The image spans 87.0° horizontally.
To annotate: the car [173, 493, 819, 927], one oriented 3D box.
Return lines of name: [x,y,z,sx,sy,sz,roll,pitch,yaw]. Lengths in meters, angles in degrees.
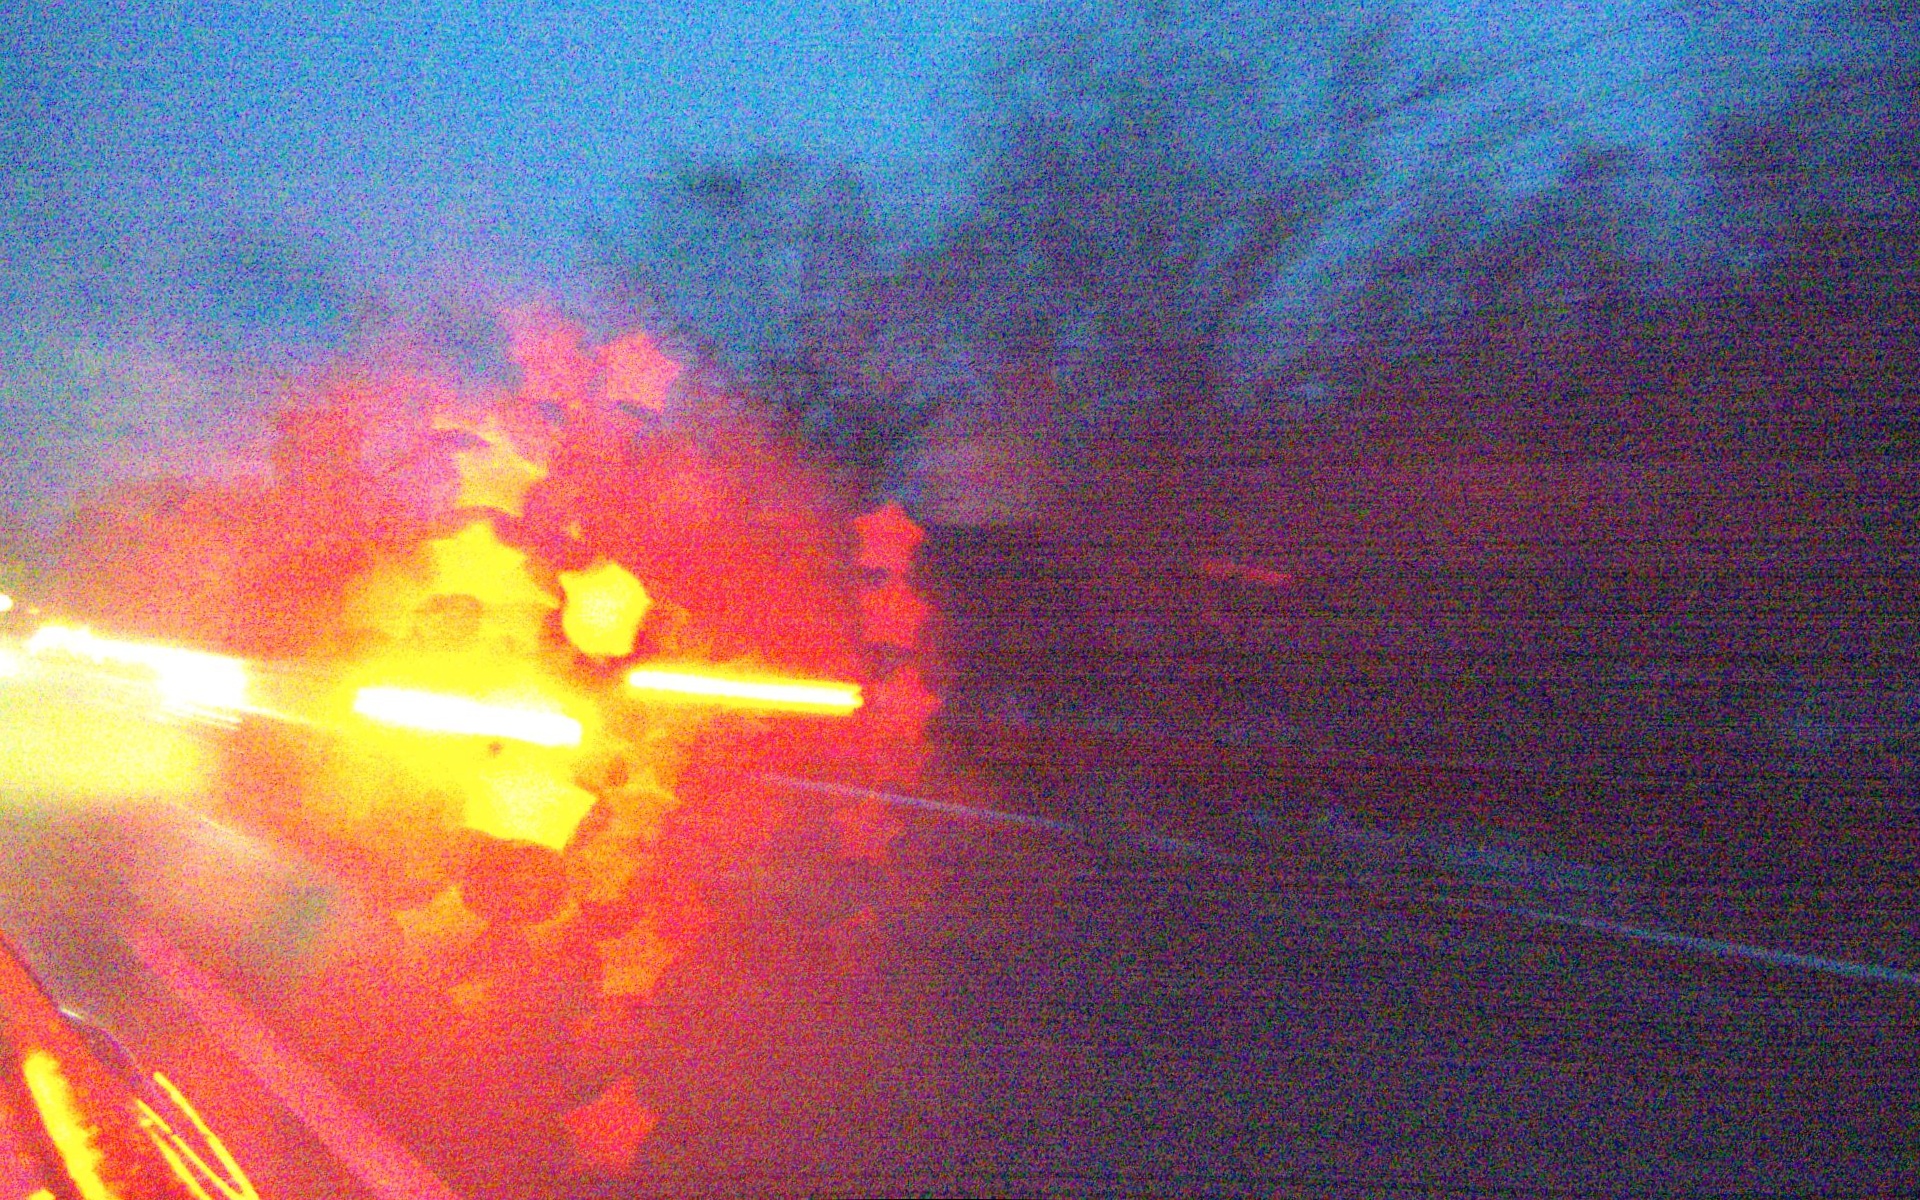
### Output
car: [-3.054,0.456,6.242,4.254,1.763,1.974,-1,0,40]

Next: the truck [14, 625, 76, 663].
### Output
truck: [-77.746,3.633,85.912,10.463,2.857,2.895,-1,0,42]
